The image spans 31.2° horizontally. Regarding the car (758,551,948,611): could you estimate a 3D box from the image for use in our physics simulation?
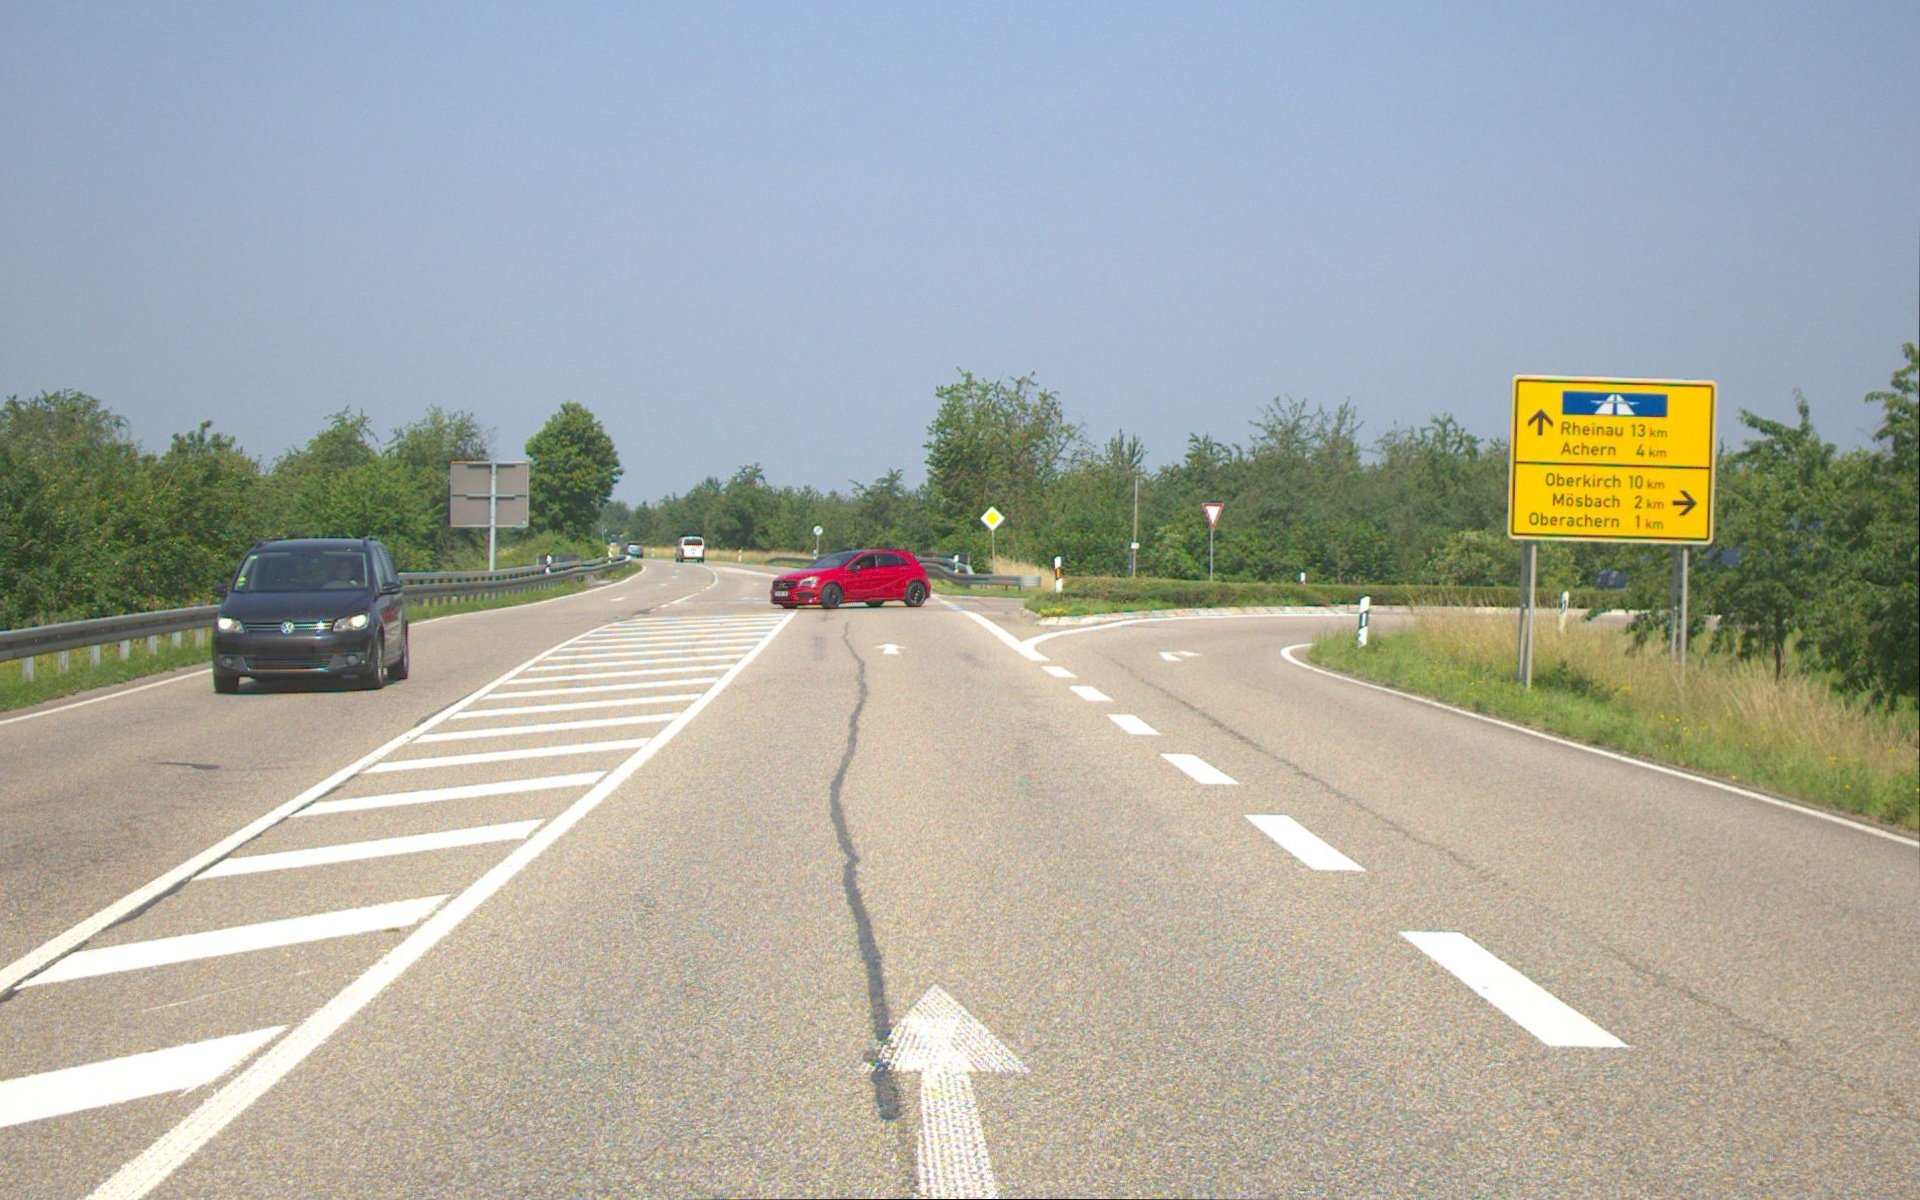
[{"bbox_3d":[-2.623,-0.476,84.983,4.481,1.444,1.821,0,1,-38],"label":"car"}]

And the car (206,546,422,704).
[{"bbox_3d":[-7.043,0.228,37.871,1.803,1.632,4.810,0,1,-4],"label":"car"}]
